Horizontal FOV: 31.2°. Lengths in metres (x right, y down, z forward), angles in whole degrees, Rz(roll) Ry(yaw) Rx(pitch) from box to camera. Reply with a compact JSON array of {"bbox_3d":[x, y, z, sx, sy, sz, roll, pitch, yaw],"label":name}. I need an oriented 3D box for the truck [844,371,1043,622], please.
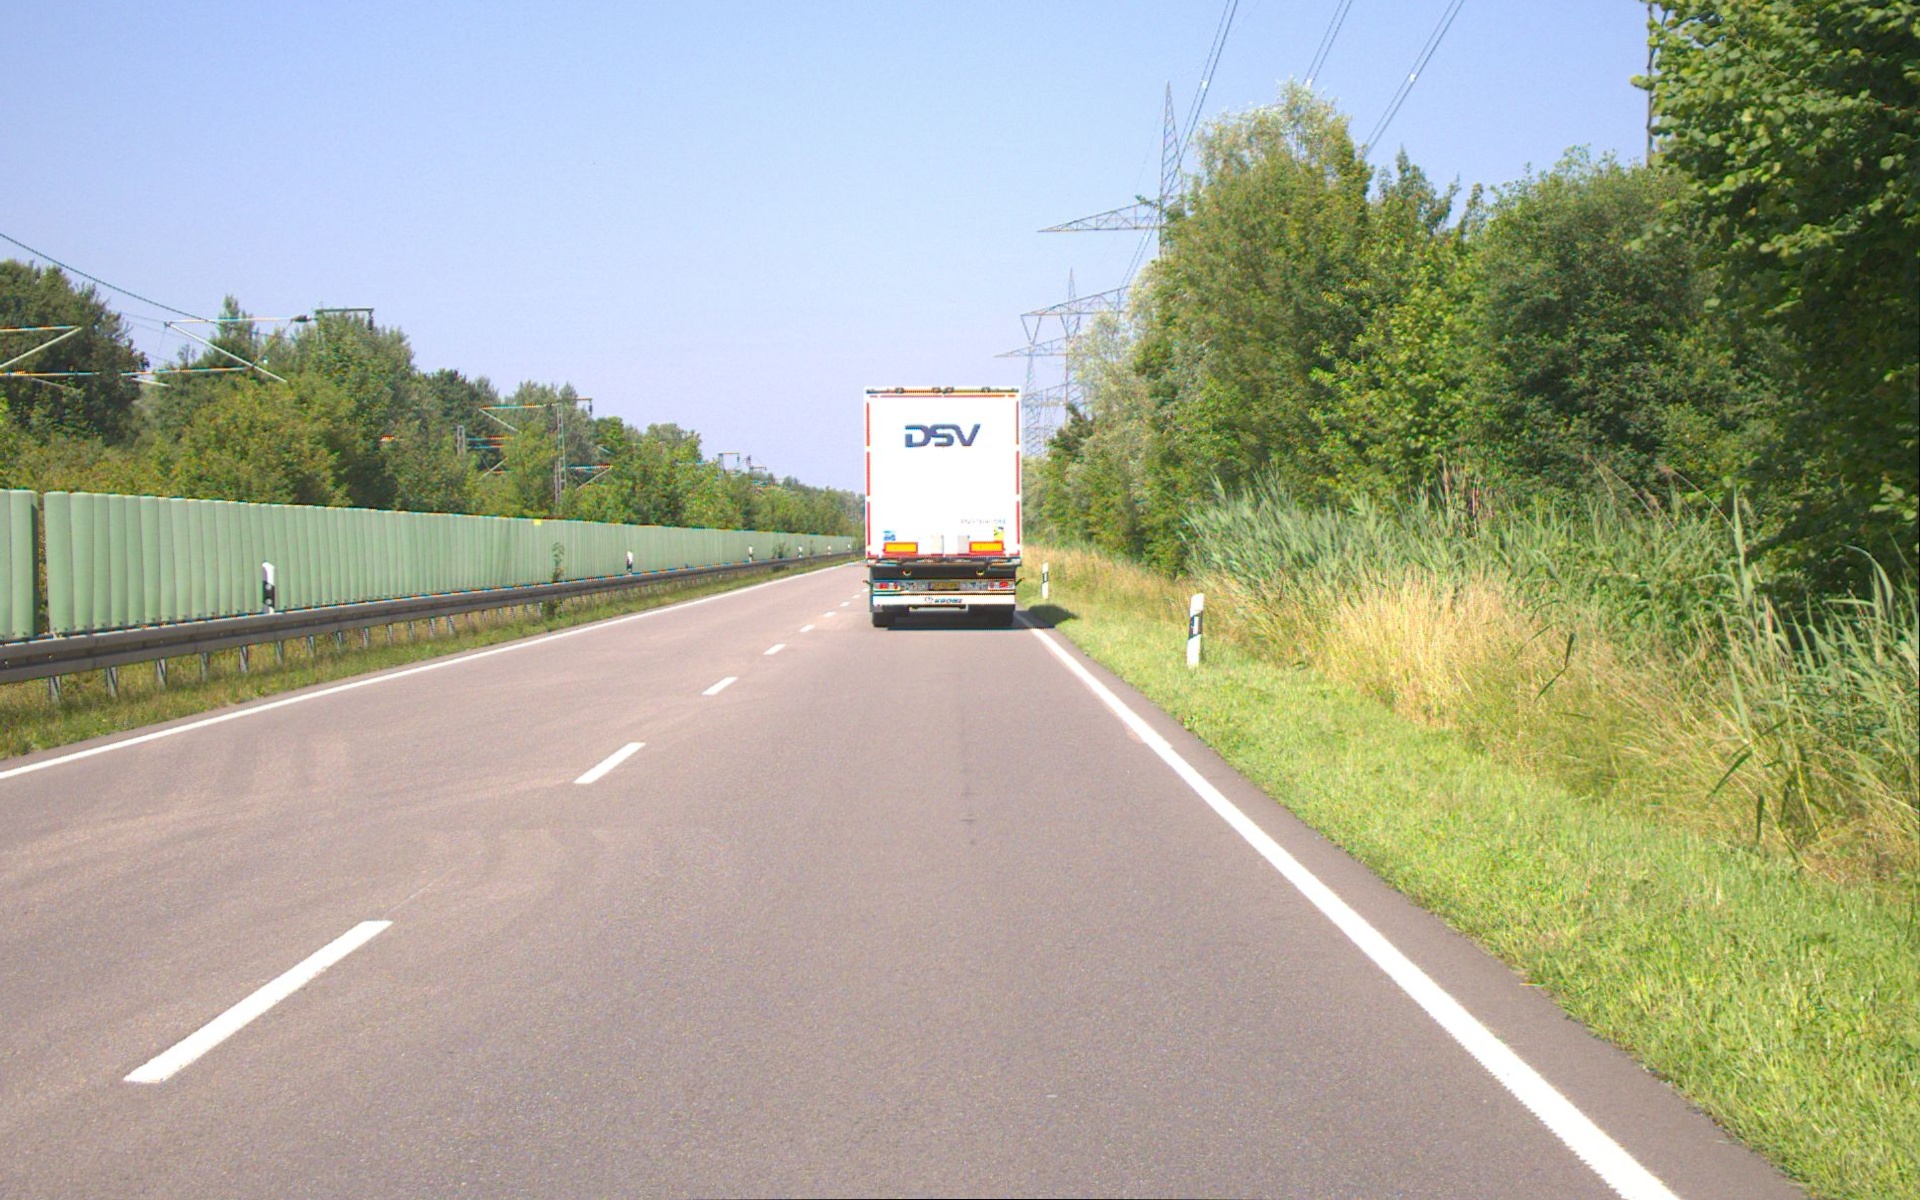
[{"bbox_3d":[-0.349,-1.796,61.764,3.192,4.029,12.008,-1,1,-1],"label":"truck"}]
